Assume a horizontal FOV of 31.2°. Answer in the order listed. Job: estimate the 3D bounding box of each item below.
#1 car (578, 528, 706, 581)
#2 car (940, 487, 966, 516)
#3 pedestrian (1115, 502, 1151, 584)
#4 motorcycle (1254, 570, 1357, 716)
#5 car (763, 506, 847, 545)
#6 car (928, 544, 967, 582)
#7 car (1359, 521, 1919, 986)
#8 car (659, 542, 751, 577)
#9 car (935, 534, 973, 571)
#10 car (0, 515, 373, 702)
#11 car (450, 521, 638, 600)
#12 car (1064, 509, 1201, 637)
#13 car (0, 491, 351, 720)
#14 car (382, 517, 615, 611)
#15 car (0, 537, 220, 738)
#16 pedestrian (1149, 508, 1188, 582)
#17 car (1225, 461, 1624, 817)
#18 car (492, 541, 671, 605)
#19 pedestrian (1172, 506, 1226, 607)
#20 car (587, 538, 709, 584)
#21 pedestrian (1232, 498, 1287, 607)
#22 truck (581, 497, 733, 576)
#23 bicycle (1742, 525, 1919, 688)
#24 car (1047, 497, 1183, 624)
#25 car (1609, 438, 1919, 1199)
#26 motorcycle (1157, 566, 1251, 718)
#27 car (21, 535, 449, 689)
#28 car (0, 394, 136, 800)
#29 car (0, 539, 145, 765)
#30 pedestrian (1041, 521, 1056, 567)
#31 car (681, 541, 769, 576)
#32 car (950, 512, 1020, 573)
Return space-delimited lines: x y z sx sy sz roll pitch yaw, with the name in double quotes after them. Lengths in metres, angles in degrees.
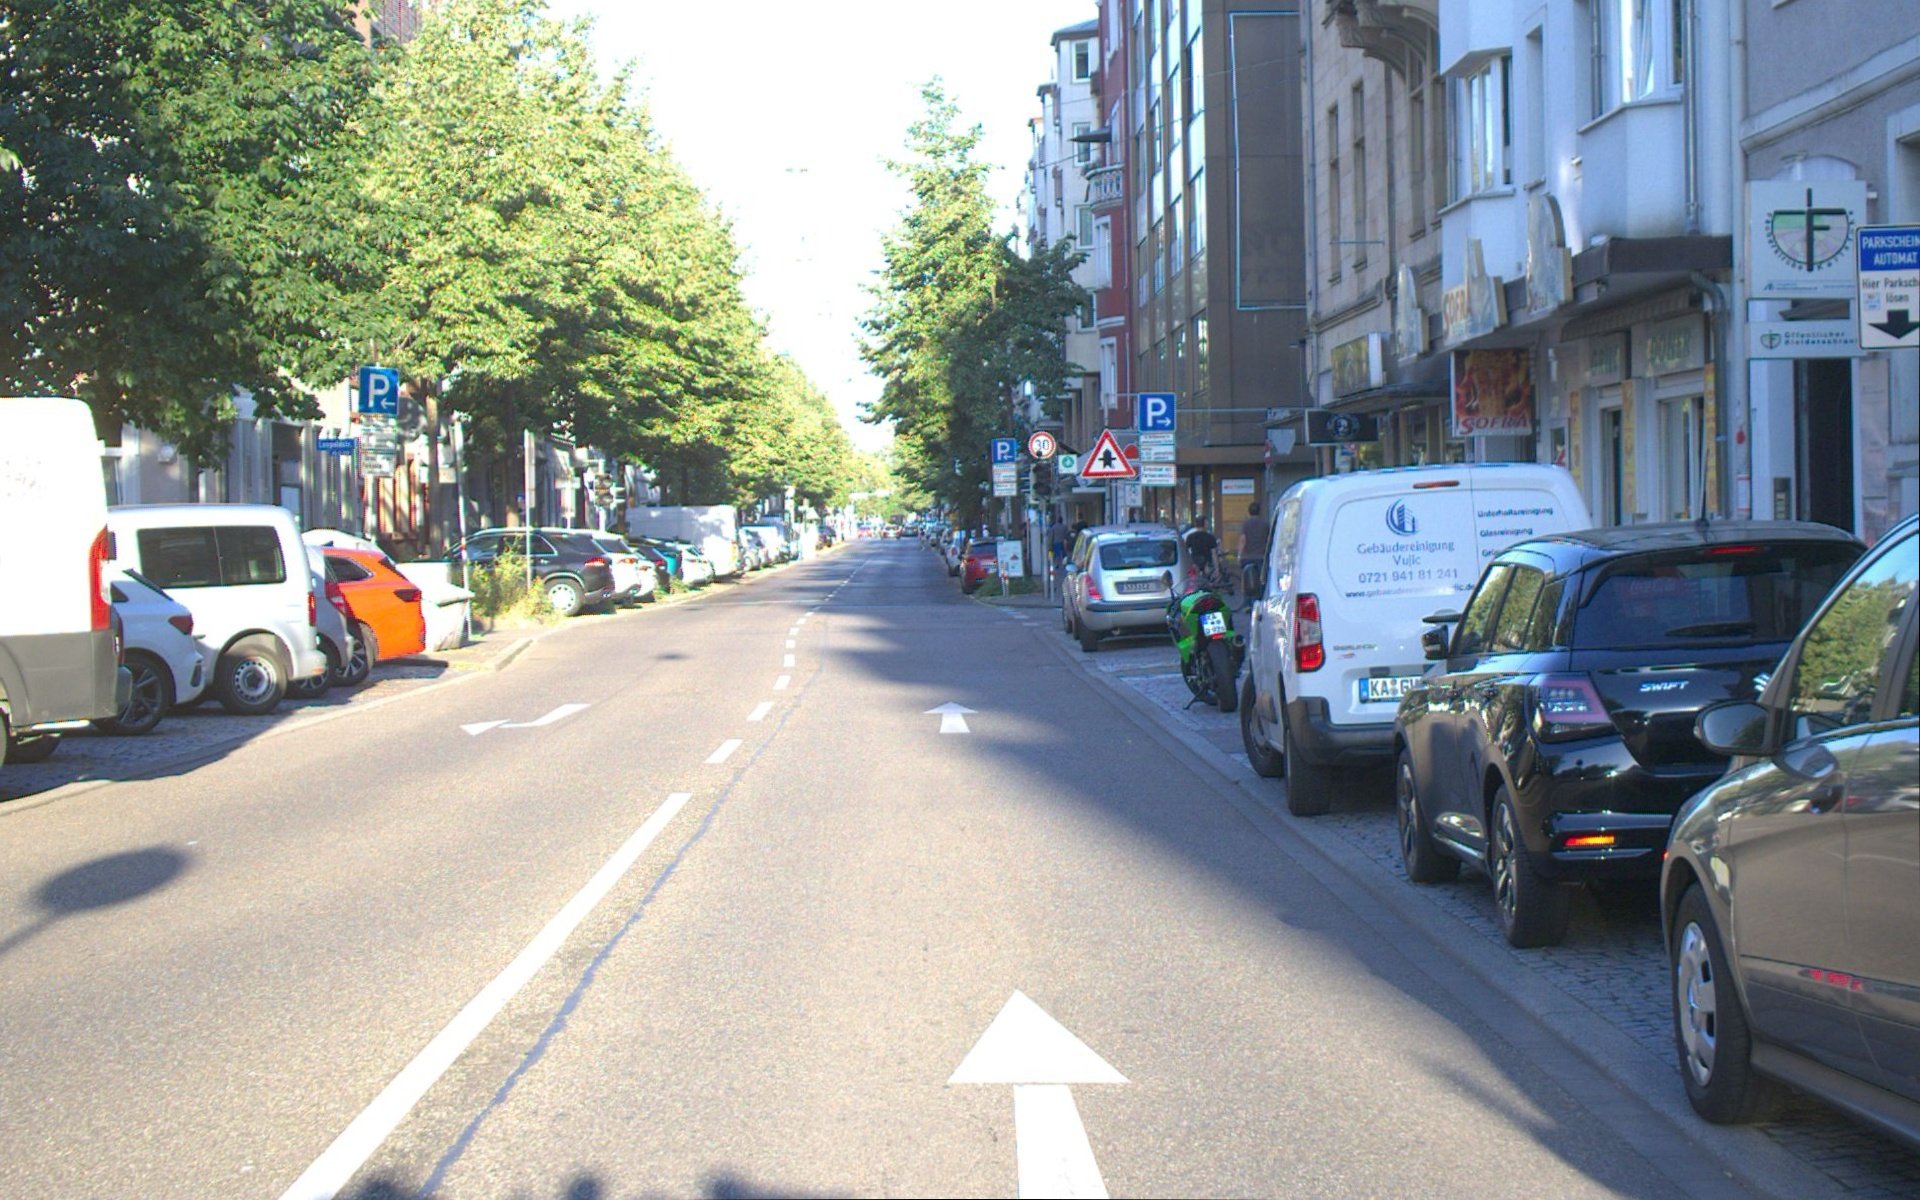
-9.606 -1.385 104.085 3.739 1.590 2.000 0 1 -1 "car"
-0.404 -5.576 195.449 1.308 1.594 2.661 0 1 -3 "car"
4.012 -1.322 79.624 0.714 1.859 0.680 -2 2 -3 "pedestrian"
2.881 0.339 28.805 0.588 1.119 2.210 0 2 -1 "motorcycle"
-6.981 -3.369 155.454 3.739 1.702 2.000 0 2 -1 "car"
-0.431 -1.272 118.184 1.206 1.296 2.661 0 1 -3 "car"
2.671 0.475 13.555 1.667 1.539 3.883 0 2 -1 "car"
-10.650 -1.706 143.721 3.739 1.445 2.000 0 1 -1 "car"
-0.231 -1.725 124.966 1.206 1.296 2.661 0 1 -3 "car"
-7.808 0.049 32.791 3.988 1.690 1.749 0 1 -36 "car"
-9.196 -0.886 76.216 3.989 1.702 1.833 0 2 -1 "car"
2.278 -0.398 46.104 1.680 1.555 4.000 -2 2 2 "car"
-7.479 0.003 29.615 3.988 1.871 1.871 -1 2 -36 "car"
-9.237 -0.743 69.089 4.448 1.828 2.034 0 2 -1 "car"
-7.855 0.266 26.055 3.988 1.487 1.849 -1 1 -39 "car"
4.824 -1.273 79.613 0.765 1.683 0.786 -2 2 -3 "pedestrian"
2.554 0.131 19.830 1.710 1.828 4.306 0 2 0 "car"
-9.211 -0.664 83.858 4.175 1.502 2.000 0 1 -1 "car"
3.921 -0.728 56.482 0.755 1.634 1.259 0 2 -2 "pedestrian"
-9.904 -1.243 109.238 3.739 1.445 2.000 0 1 -1 "car"
4.900 -0.789 56.229 0.755 1.761 1.222 0 2 -2 "pedestrian"
-10.155 -2.132 115.490 4.940 2.606 2.000 0 1 -1 "truck"
5.636 0.035 22.067 0.455 1.008 1.713 0 0 -15 "bicycle"
2.254 -0.617 50.925 1.696 1.763 4.001 -1 2 -1 "car"
2.657 0.500 7.350 1.656 1.659 4.108 0 2 -1 "car"
2.059 0.336 29.238 0.588 1.196 2.210 0 2 -1 "motorcycle"
-7.660 0.082 36.351 3.987 1.480 2.000 -2 2 -30 "car"
-7.179 -0.028 19.255 4.598 2.243 2.203 0 1 -27 "car"
-7.645 0.353 22.722 3.989 1.463 1.882 -2 2 -43 "car"
3.118 -1.984 121.264 0.534 1.616 0.534 0 2 0 "pedestrian"
-10.146 -1.796 148.615 3.739 1.487 2.000 0 1 -1 "car"
0.661 -1.538 92.951 1.576 1.537 3.397 -3 1 -3 "car"
